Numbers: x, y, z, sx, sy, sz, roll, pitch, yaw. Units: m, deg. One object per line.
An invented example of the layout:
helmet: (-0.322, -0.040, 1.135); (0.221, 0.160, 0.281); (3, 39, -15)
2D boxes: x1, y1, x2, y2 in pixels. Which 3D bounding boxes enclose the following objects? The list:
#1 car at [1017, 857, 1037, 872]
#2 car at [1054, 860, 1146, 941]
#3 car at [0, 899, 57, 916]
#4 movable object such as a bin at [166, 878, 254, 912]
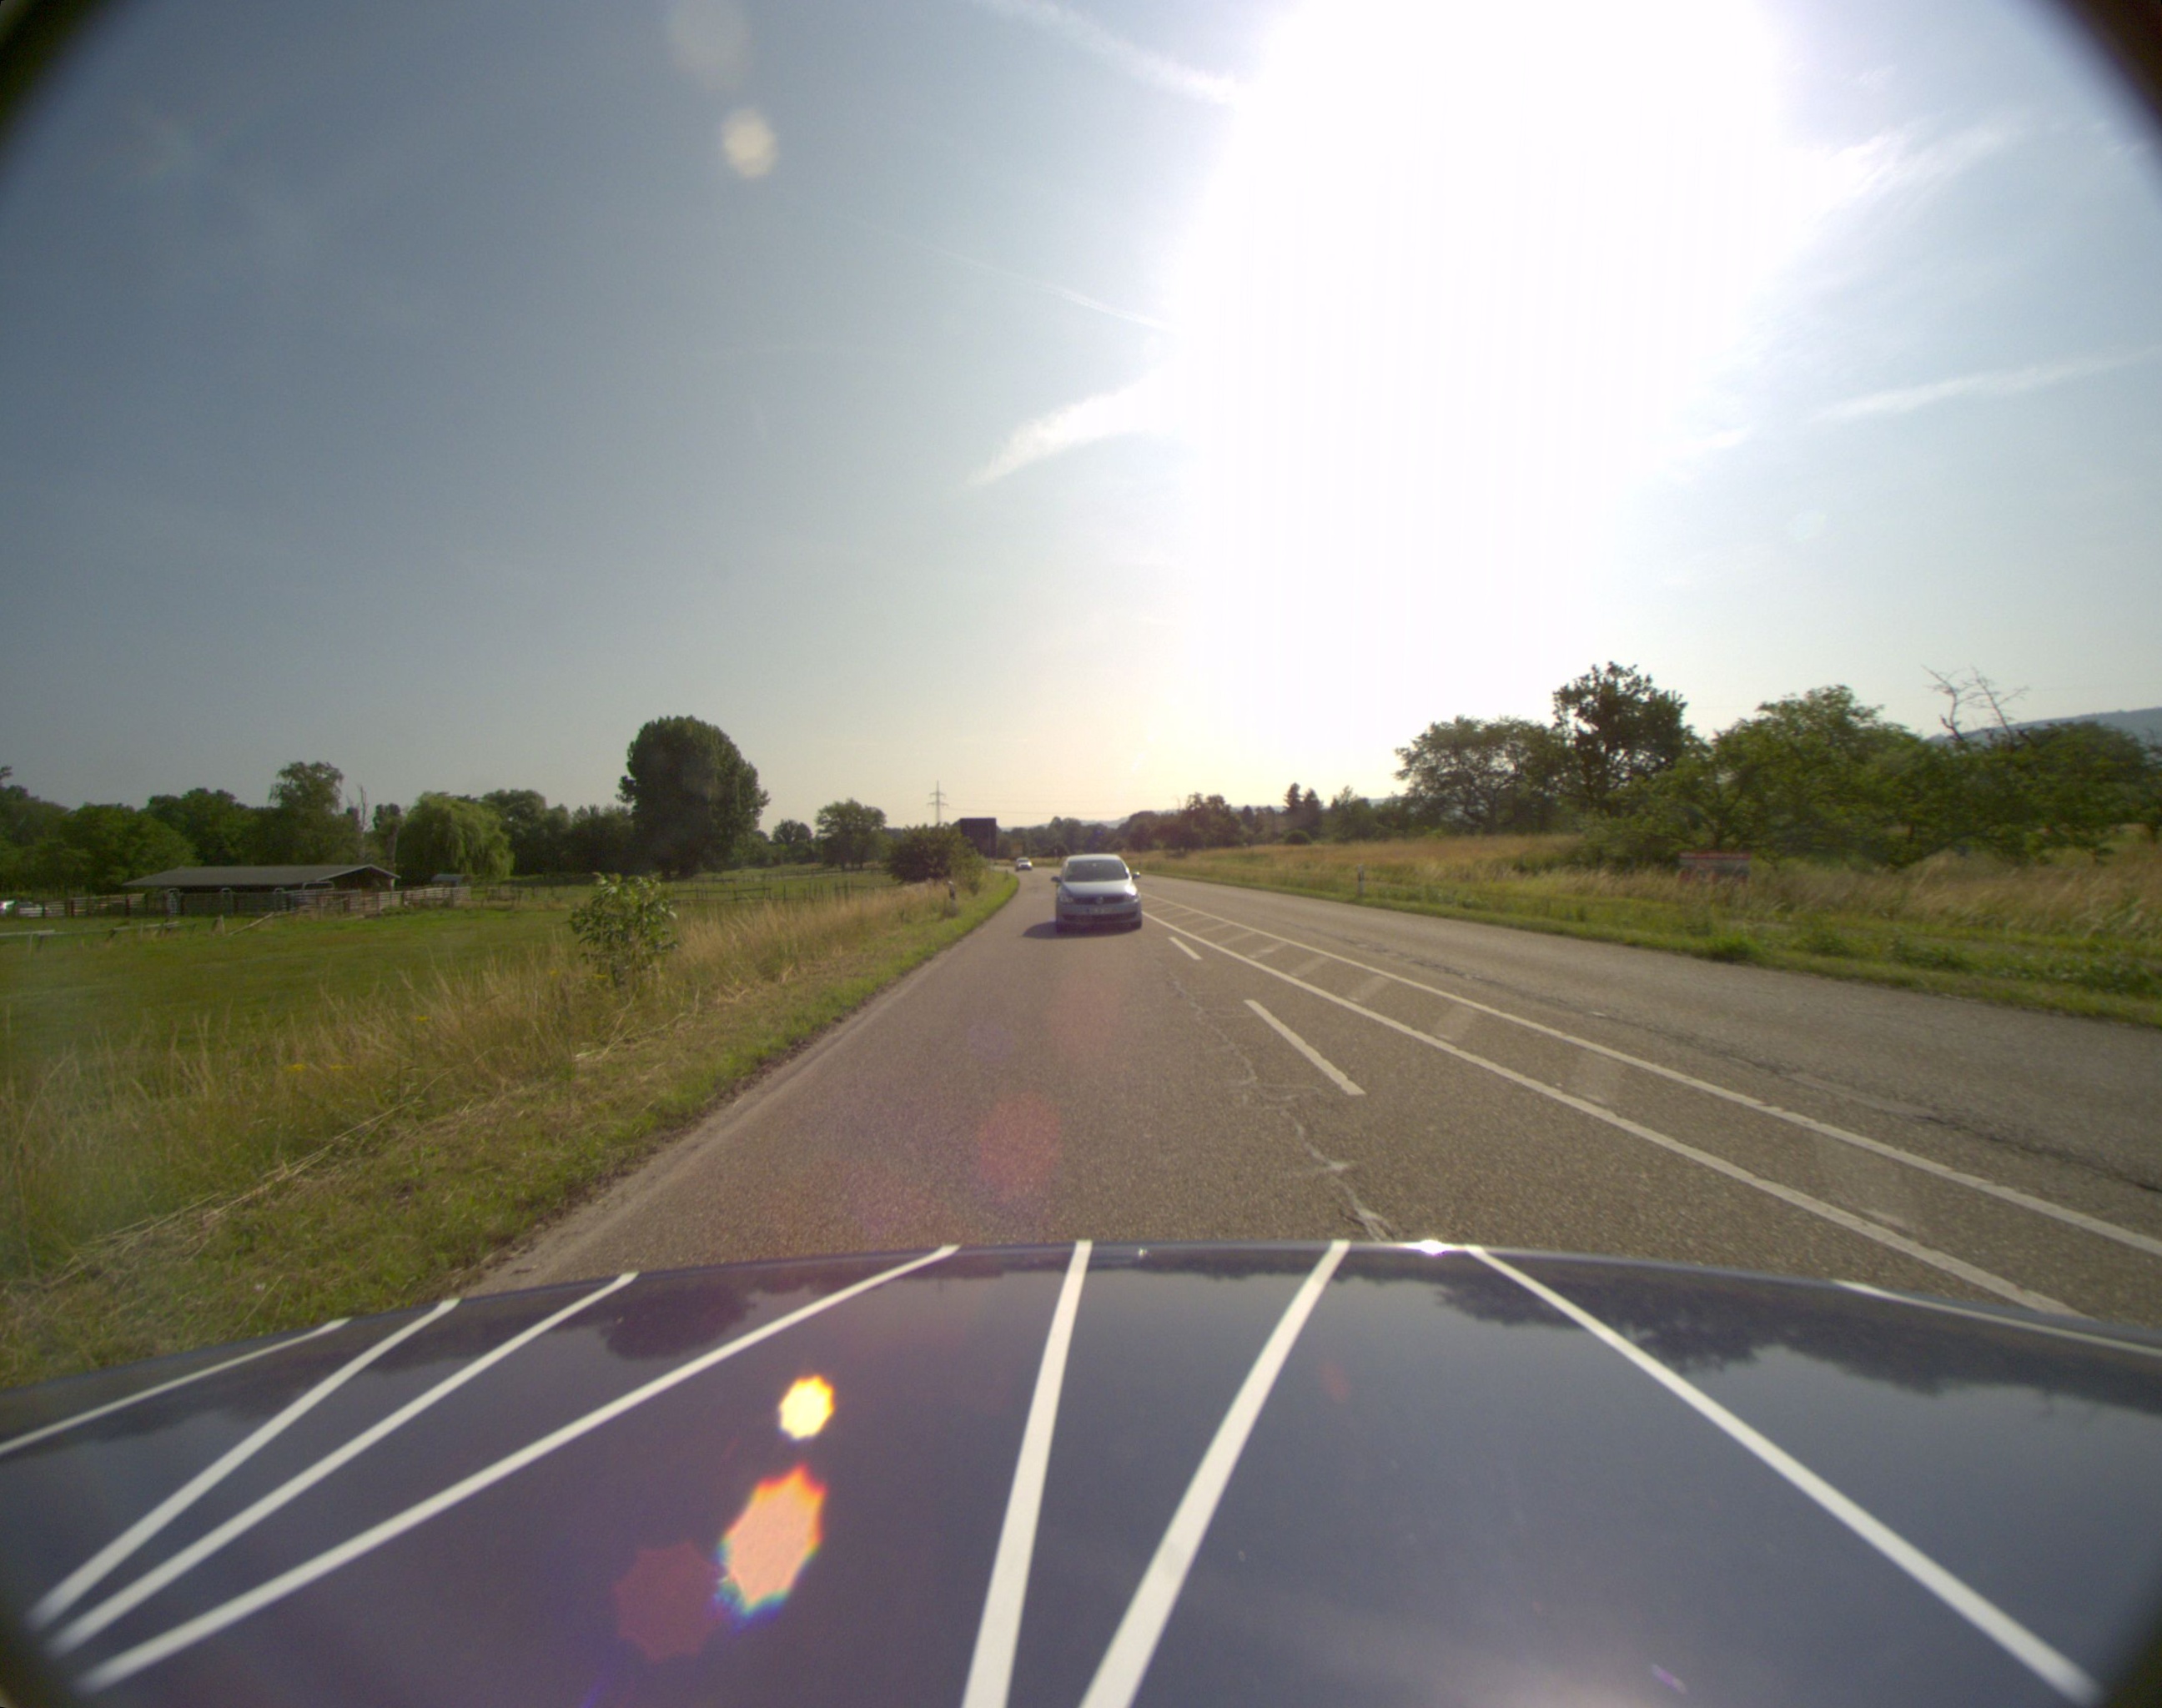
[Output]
car: (-6.507, 1.227, 90.637); (2.000, 1.571, 3.905); (-3, 1, -9)
car: (0.394, 0.908, 16.653); (1.718, 1.495, 4.094); (-2, 0, 1)
car: (-75.200, 3.818, 53.990); (1.229, 0.999, 3.048); (-3, 1, -15)
movable object such as a bin: (-64.897, 3.018, 56.735); (2.000, 2.181, 4.161); (-3, 1, -8)
